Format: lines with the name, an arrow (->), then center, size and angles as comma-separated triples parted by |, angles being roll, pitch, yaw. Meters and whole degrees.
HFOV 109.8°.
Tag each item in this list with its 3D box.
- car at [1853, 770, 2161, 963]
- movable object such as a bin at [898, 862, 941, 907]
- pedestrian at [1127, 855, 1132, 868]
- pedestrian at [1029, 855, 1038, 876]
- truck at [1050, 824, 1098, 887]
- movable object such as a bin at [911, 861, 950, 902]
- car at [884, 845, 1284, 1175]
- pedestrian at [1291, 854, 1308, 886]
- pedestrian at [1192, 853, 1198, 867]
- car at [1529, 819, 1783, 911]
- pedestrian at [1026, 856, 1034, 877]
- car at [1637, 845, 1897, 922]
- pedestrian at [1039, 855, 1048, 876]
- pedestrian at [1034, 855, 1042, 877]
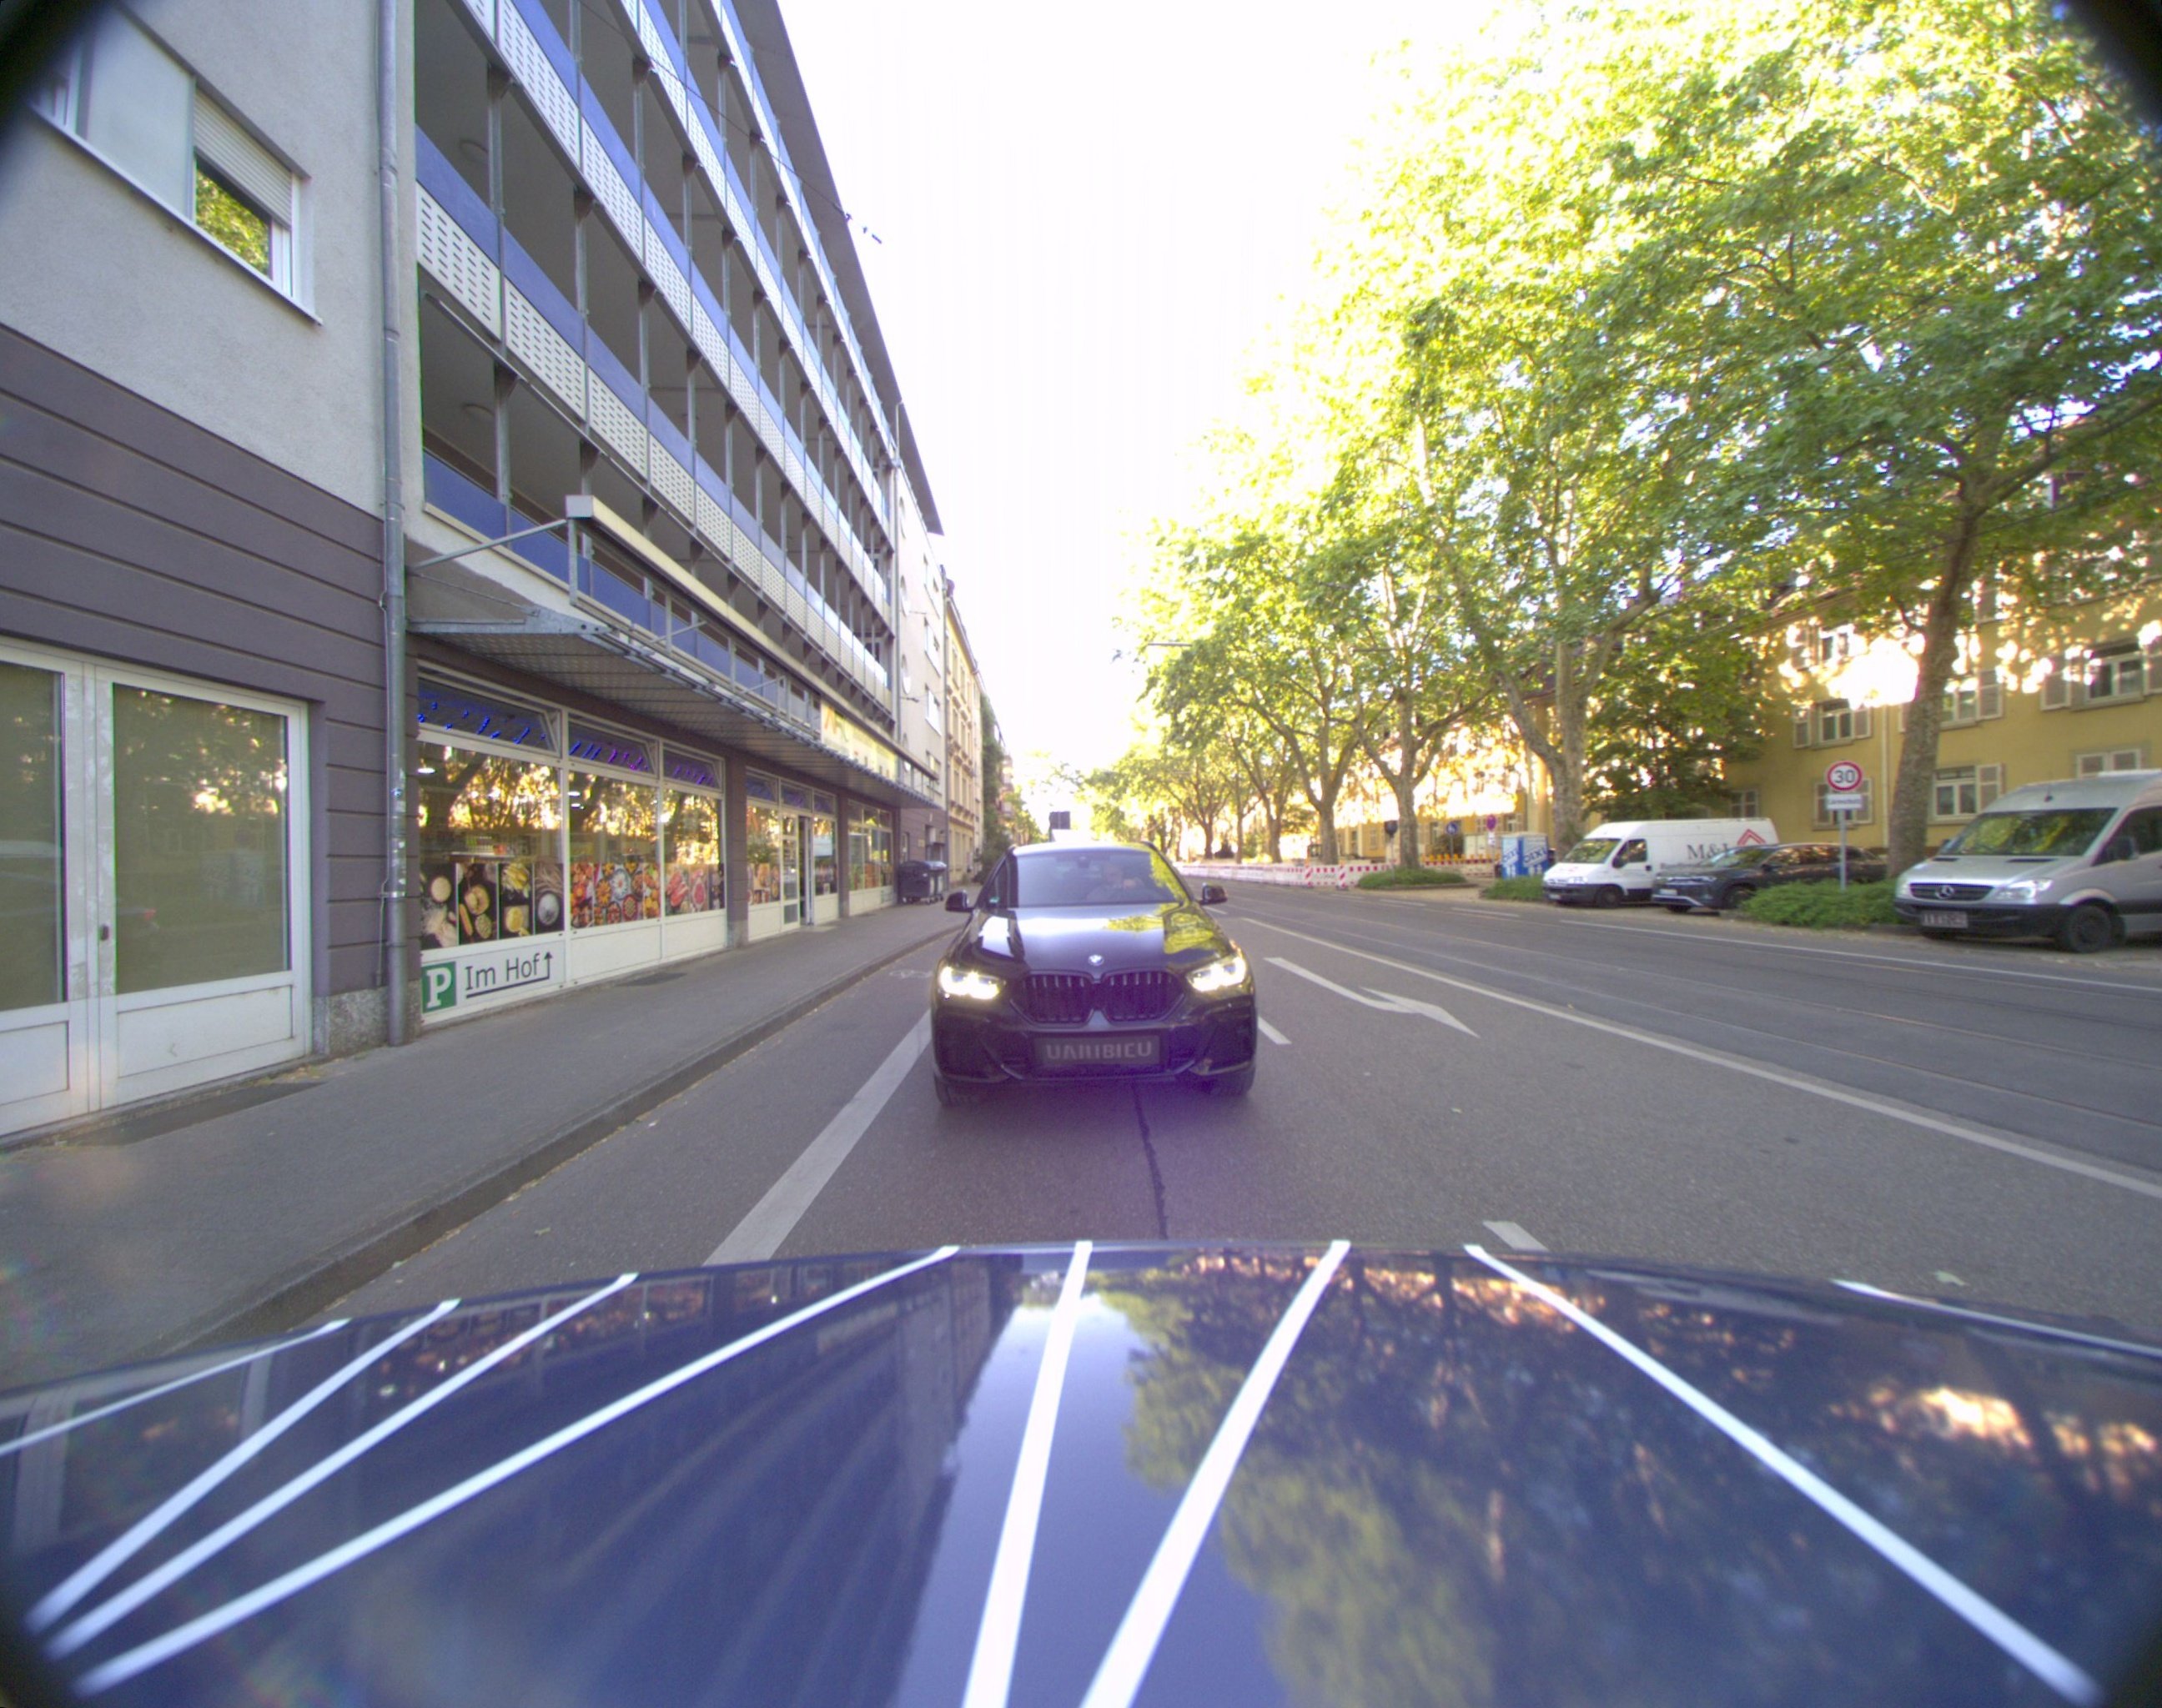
car -> 15.985, 0.131, 11.877 | 5.666, 2.666, 2.223 | -2, 0, -2
movable object such as a bin -> -5.235, 0.977, 24.665 | 1.158, 1.418, 0.939 | -1, 0, 1
pedestrian -> 7.584, 1.164, 118.903 | 0.733, 1.875, 0.741 | -2, 1, -1
pedestrian -> -4.332, 1.049, 69.014 | 0.733, 1.875, 0.664 | -2, 1, -1
truck -> -0.316, 0.120, 42.072 | 2.394, 3.170, 6.587 | -1, 0, 1
movable object such as a bin -> -5.283, 0.951, 26.703 | 1.158, 1.418, 0.939 | -1, 0, 1
car -> 0.042, 0.800, 5.991 | 1.998, 1.643, 4.295 | -1, 0, 1
pedestrian -> 11.998, 0.882, 41.760 | 0.652, 1.735, 0.582 | -3, 1, -20
pedestrian -> 16.566, 0.864, 110.240 | 0.732, 1.875, 0.665 | -2, 1, 8
car -> 15.845, 0.292, 21.166 | 5.404, 2.362, 2.223 | -1, 0, 0
pedestrian -> -4.548, 1.089, 67.700 | 0.600, 1.875, 0.581 | -2, 1, -1
car -> 16.079, 0.660, 17.959 | 4.627, 1.642, 1.774 | -1, 0, -2
pedestrian -> -3.381, 1.034, 68.657 | 0.733, 1.875, 0.664 | -2, 1, -1
pedestrian -> -3.849, 1.061, 67.749 | 0.600, 1.875, 0.581 | -2, 1, -1
